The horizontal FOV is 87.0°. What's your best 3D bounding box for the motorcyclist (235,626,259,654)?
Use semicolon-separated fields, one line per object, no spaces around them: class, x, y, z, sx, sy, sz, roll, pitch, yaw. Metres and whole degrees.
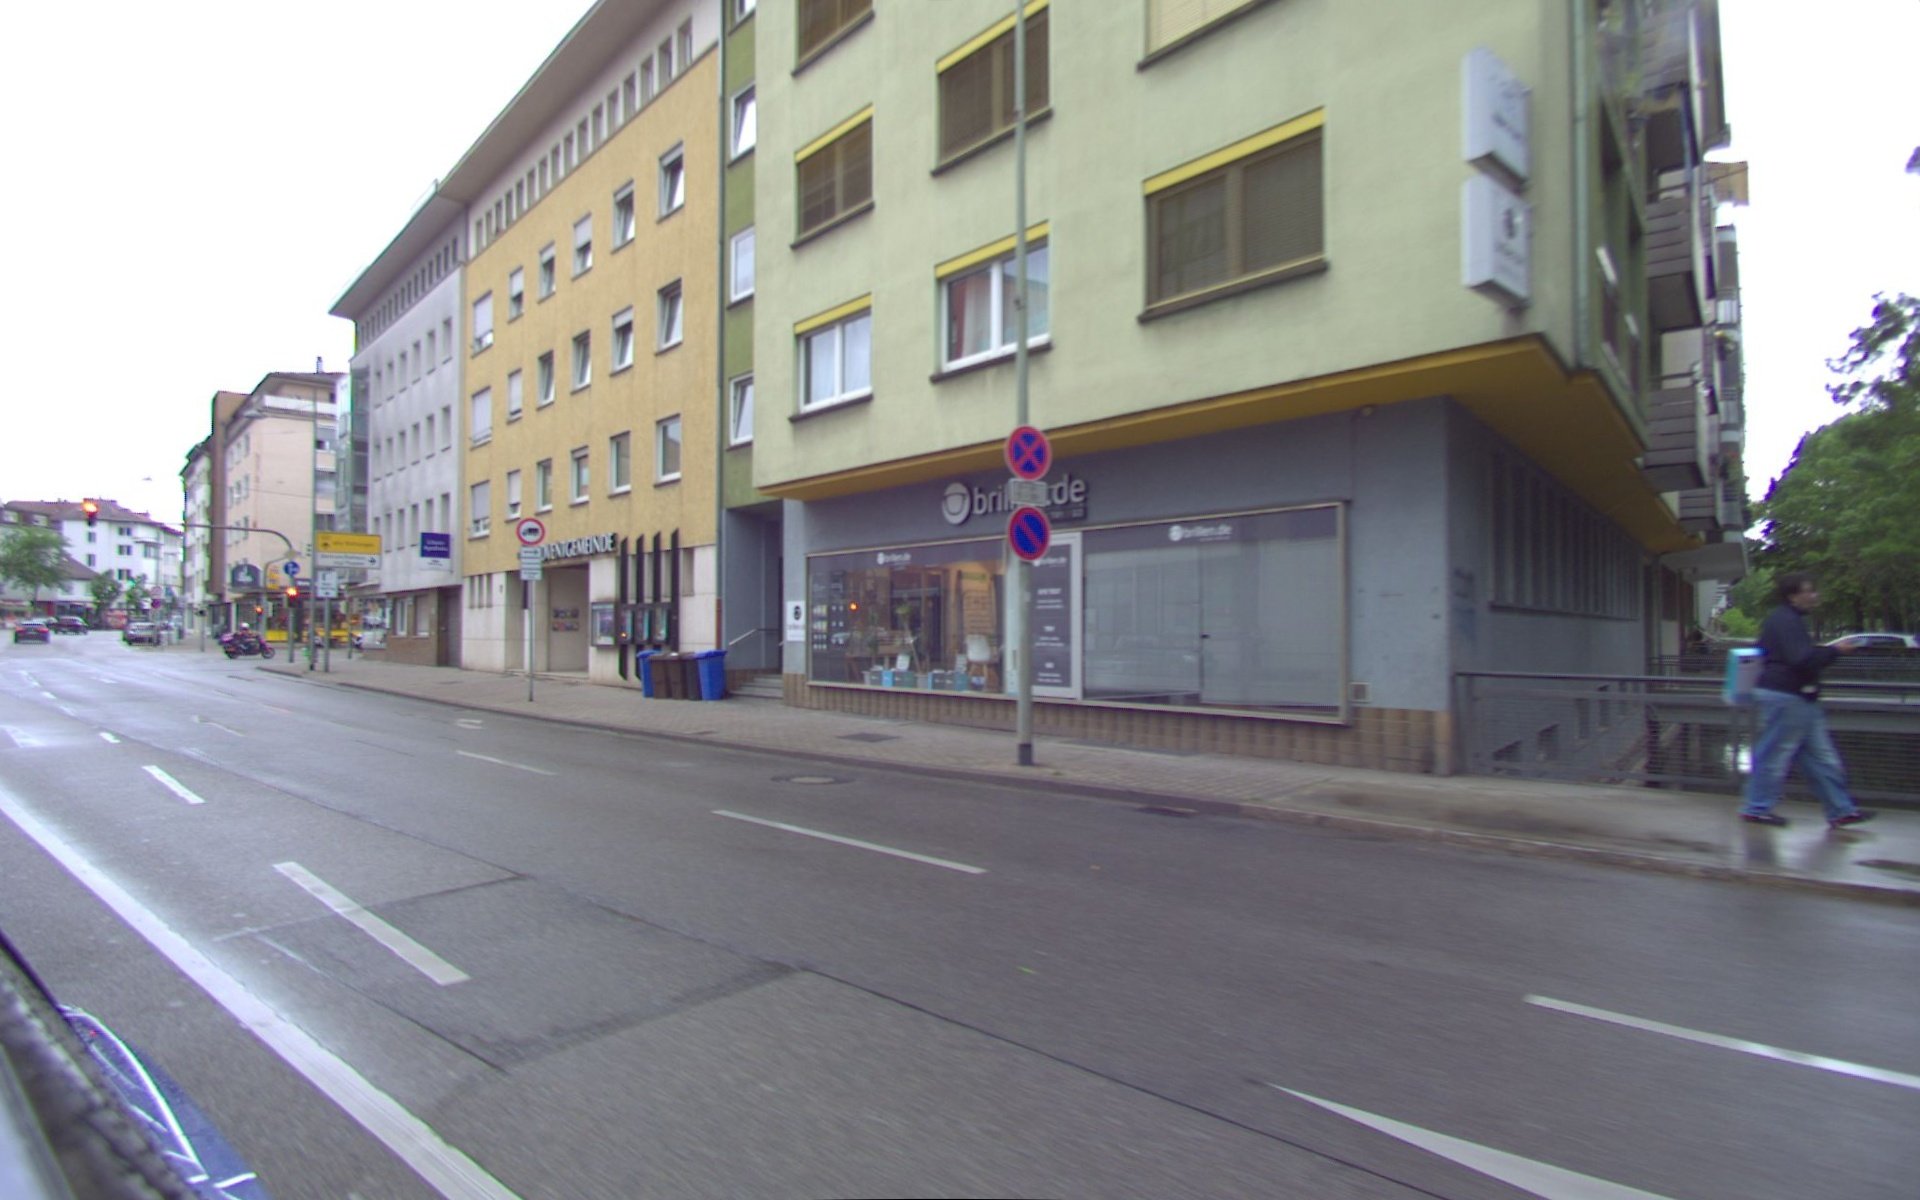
motorcyclist;-33.805;1.895;47.953;0.859;1.337;0.493;2;-3;-41

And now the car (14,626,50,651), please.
car;-63.168;2.613;68.892;1.723;1.608;4.005;2;-2;-42

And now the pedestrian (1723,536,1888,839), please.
pedestrian;6.123;0.596;7.336;0.741;2.029;0.783;2;-3;-42

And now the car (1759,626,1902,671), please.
car;32.674;1.781;38.109;3.998;1.608;1.757;-1;-2;41

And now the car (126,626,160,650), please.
car;-57.141;2.665;70.788;1.807;1.634;4.007;1;-2;-39

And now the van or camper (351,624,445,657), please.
van or camper;-36.176;2.595;65.266;4.954;2.029;2.002;2;-1;-44

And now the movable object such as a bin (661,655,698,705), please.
movable object such as a bin;-5.605;1.591;20.221;0.521;0.935;0.426;-4;1;-42

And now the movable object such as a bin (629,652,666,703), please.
movable object such as a bin;-6.526;1.610;21.106;0.510;1.008;0.524;-4;1;-42

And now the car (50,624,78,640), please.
car;-84.296;3.019;95.265;1.567;1.539;3.496;1;-2;-36

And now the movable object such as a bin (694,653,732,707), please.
movable object such as a bin;-4.802;1.548;19.691;0.522;0.968;0.435;-4;1;-42

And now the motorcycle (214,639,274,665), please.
motorcycle;-33.842;2.438;47.836;2.257;1.172;0.775;1;-2;-40

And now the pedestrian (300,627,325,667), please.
pedestrian;-26.683;1.922;41.714;0.773;1.600;0.675;-2;-1;-29

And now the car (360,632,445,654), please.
car;-32.926;2.520;59.883;1.842;1.300;4.041;-2;-2;42

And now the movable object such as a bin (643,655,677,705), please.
movable object such as a bin;-6.081;1.614;20.510;0.458;0.935;0.429;-4;1;-42

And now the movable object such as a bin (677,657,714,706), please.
movable object such as a bin;-5.221;1.596;19.957;0.522;0.902;0.435;-4;1;-42
